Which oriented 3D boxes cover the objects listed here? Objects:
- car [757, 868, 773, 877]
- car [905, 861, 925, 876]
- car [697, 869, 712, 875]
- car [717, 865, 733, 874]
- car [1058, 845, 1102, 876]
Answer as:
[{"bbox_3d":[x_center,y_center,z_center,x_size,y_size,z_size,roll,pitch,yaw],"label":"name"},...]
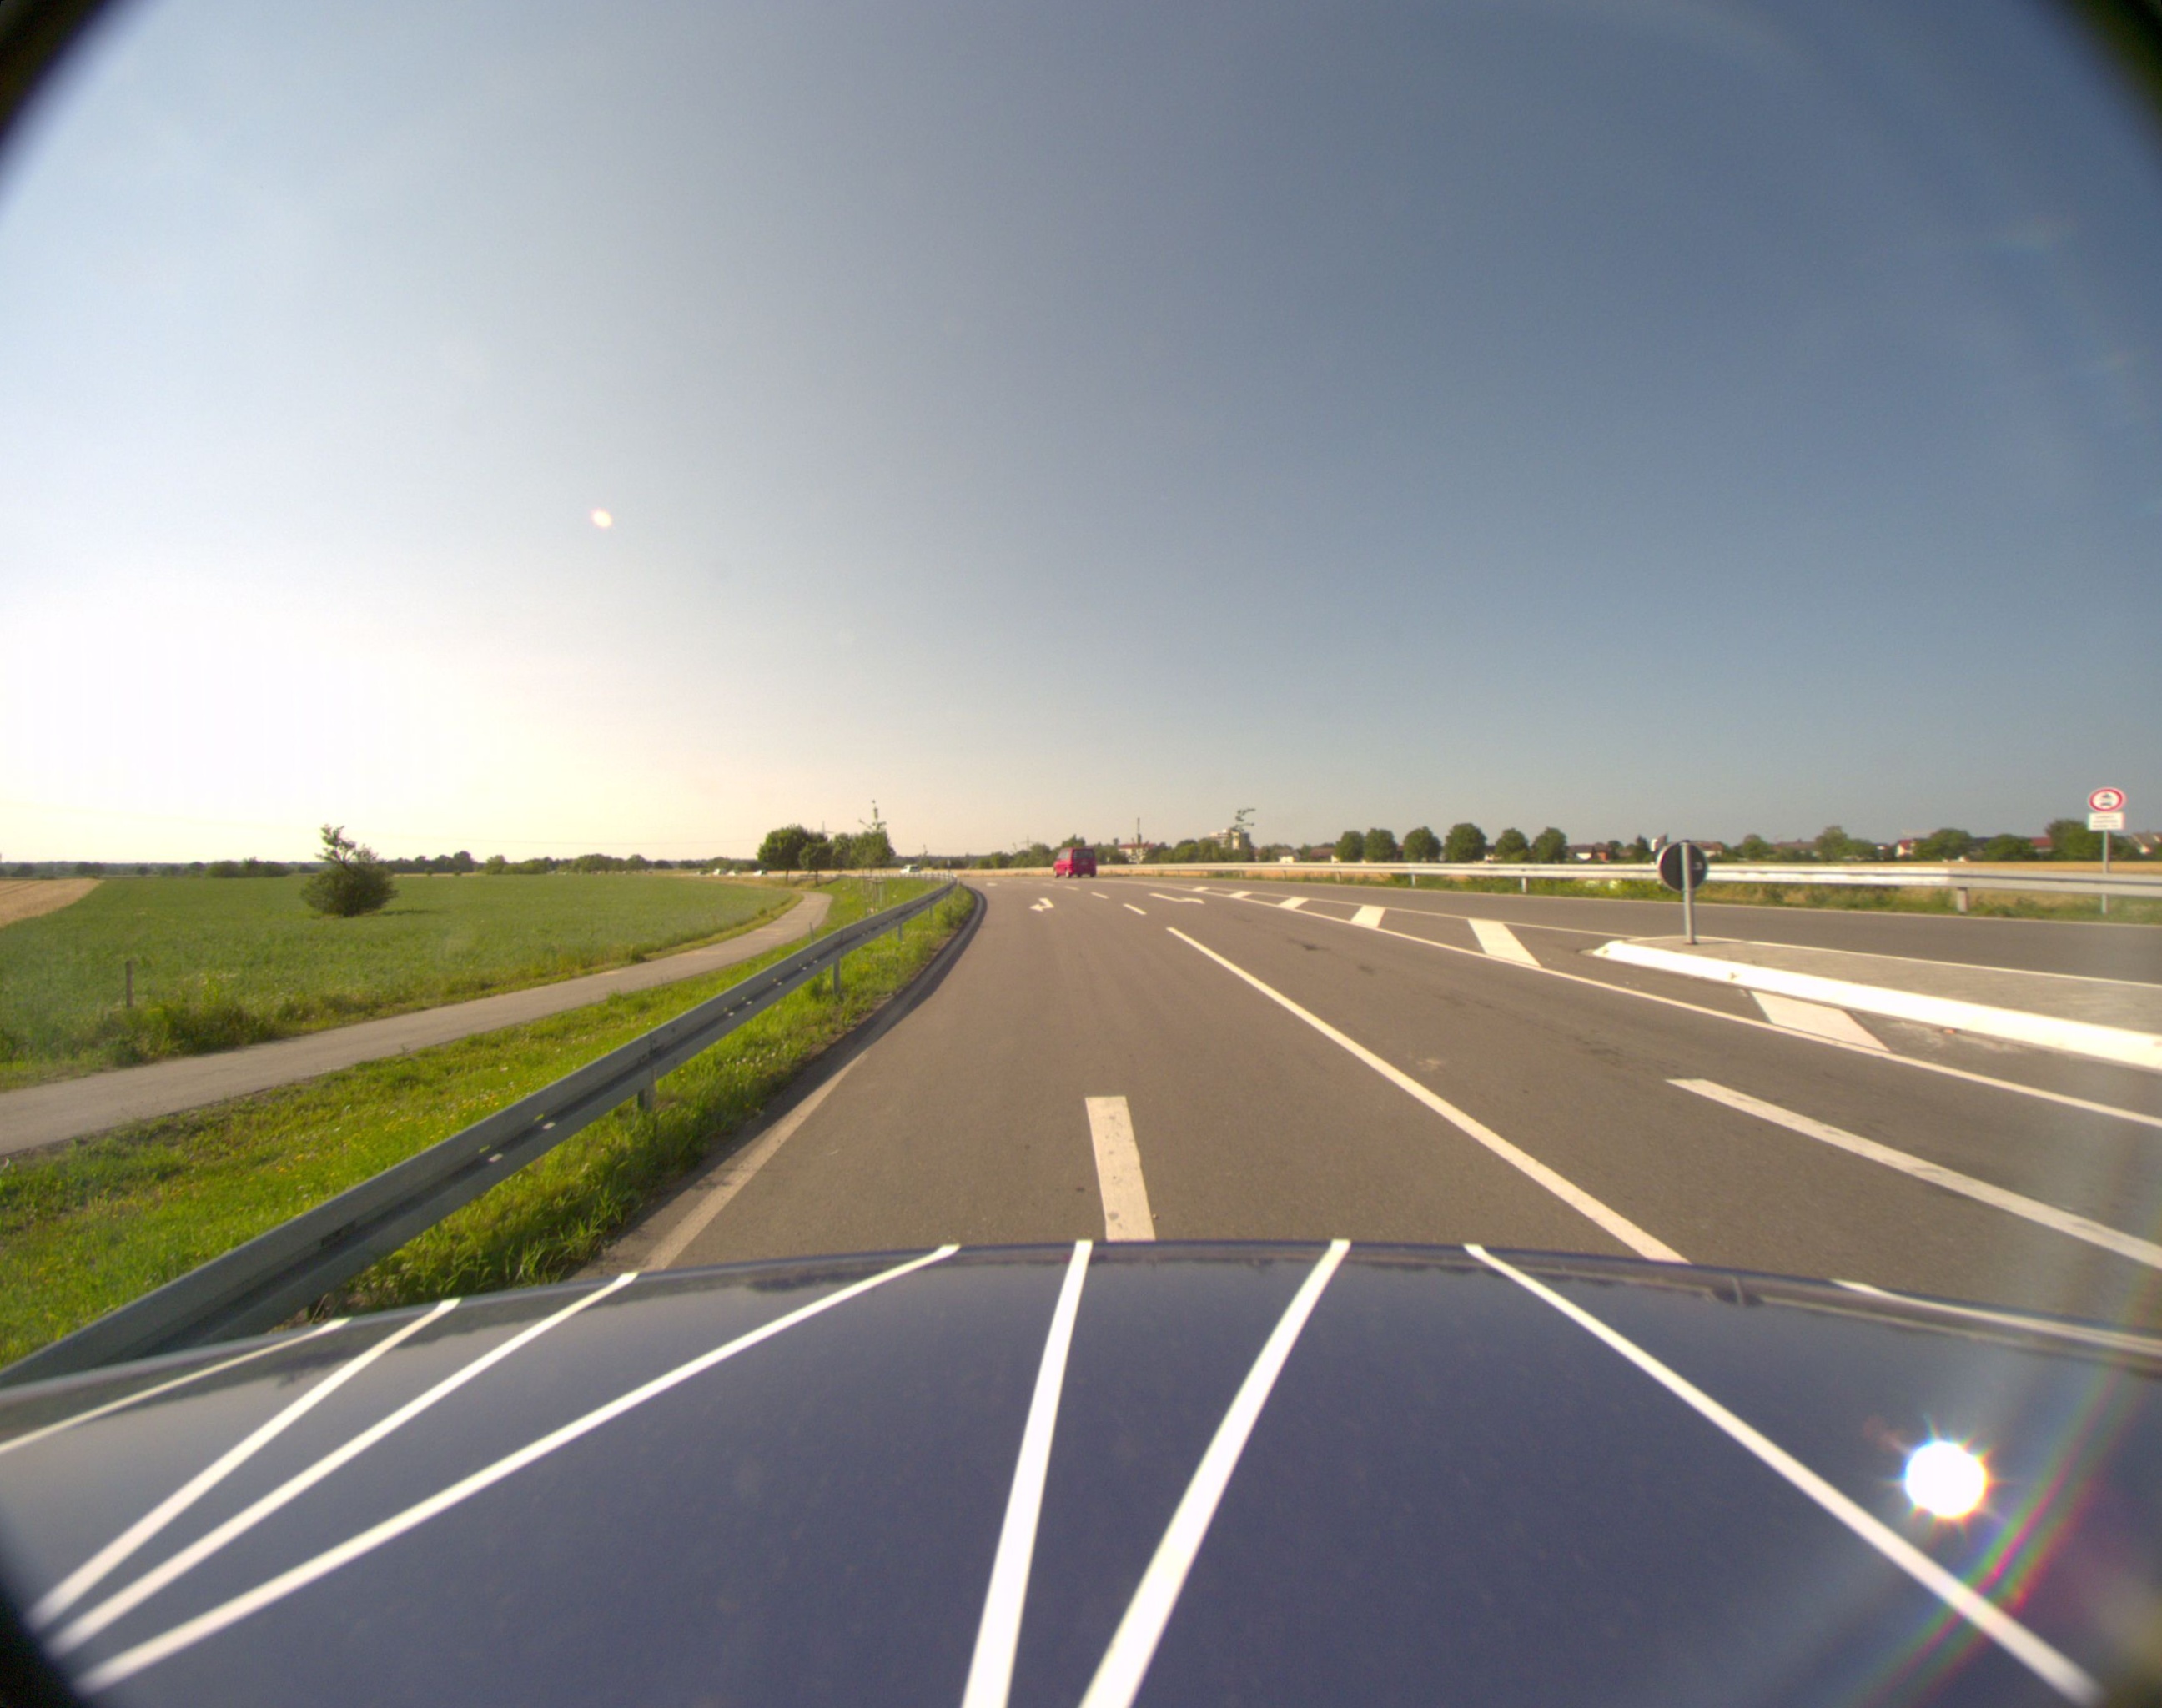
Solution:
[{"bbox_3d":[-67.383,3.952,162.013,2.125,1.484,5.141,-2,-2,-36],"label":"car"},{"bbox_3d":[-22.662,1.966,103.508,1.699,1.664,4.851,-2,4,-23],"label":"car"},{"bbox_3d":[-97.630,4.702,196.997,4.694,1.439,1.804,-5,-3,44],"label":"car"},{"bbox_3d":[-86.626,3.747,184.973,2.126,2.001,5.141,-2,-2,-40],"label":"car"},{"bbox_3d":[-0.136,0.473,50.567,1.840,1.929,4.921,-1,-1,-13],"label":"car"}]
